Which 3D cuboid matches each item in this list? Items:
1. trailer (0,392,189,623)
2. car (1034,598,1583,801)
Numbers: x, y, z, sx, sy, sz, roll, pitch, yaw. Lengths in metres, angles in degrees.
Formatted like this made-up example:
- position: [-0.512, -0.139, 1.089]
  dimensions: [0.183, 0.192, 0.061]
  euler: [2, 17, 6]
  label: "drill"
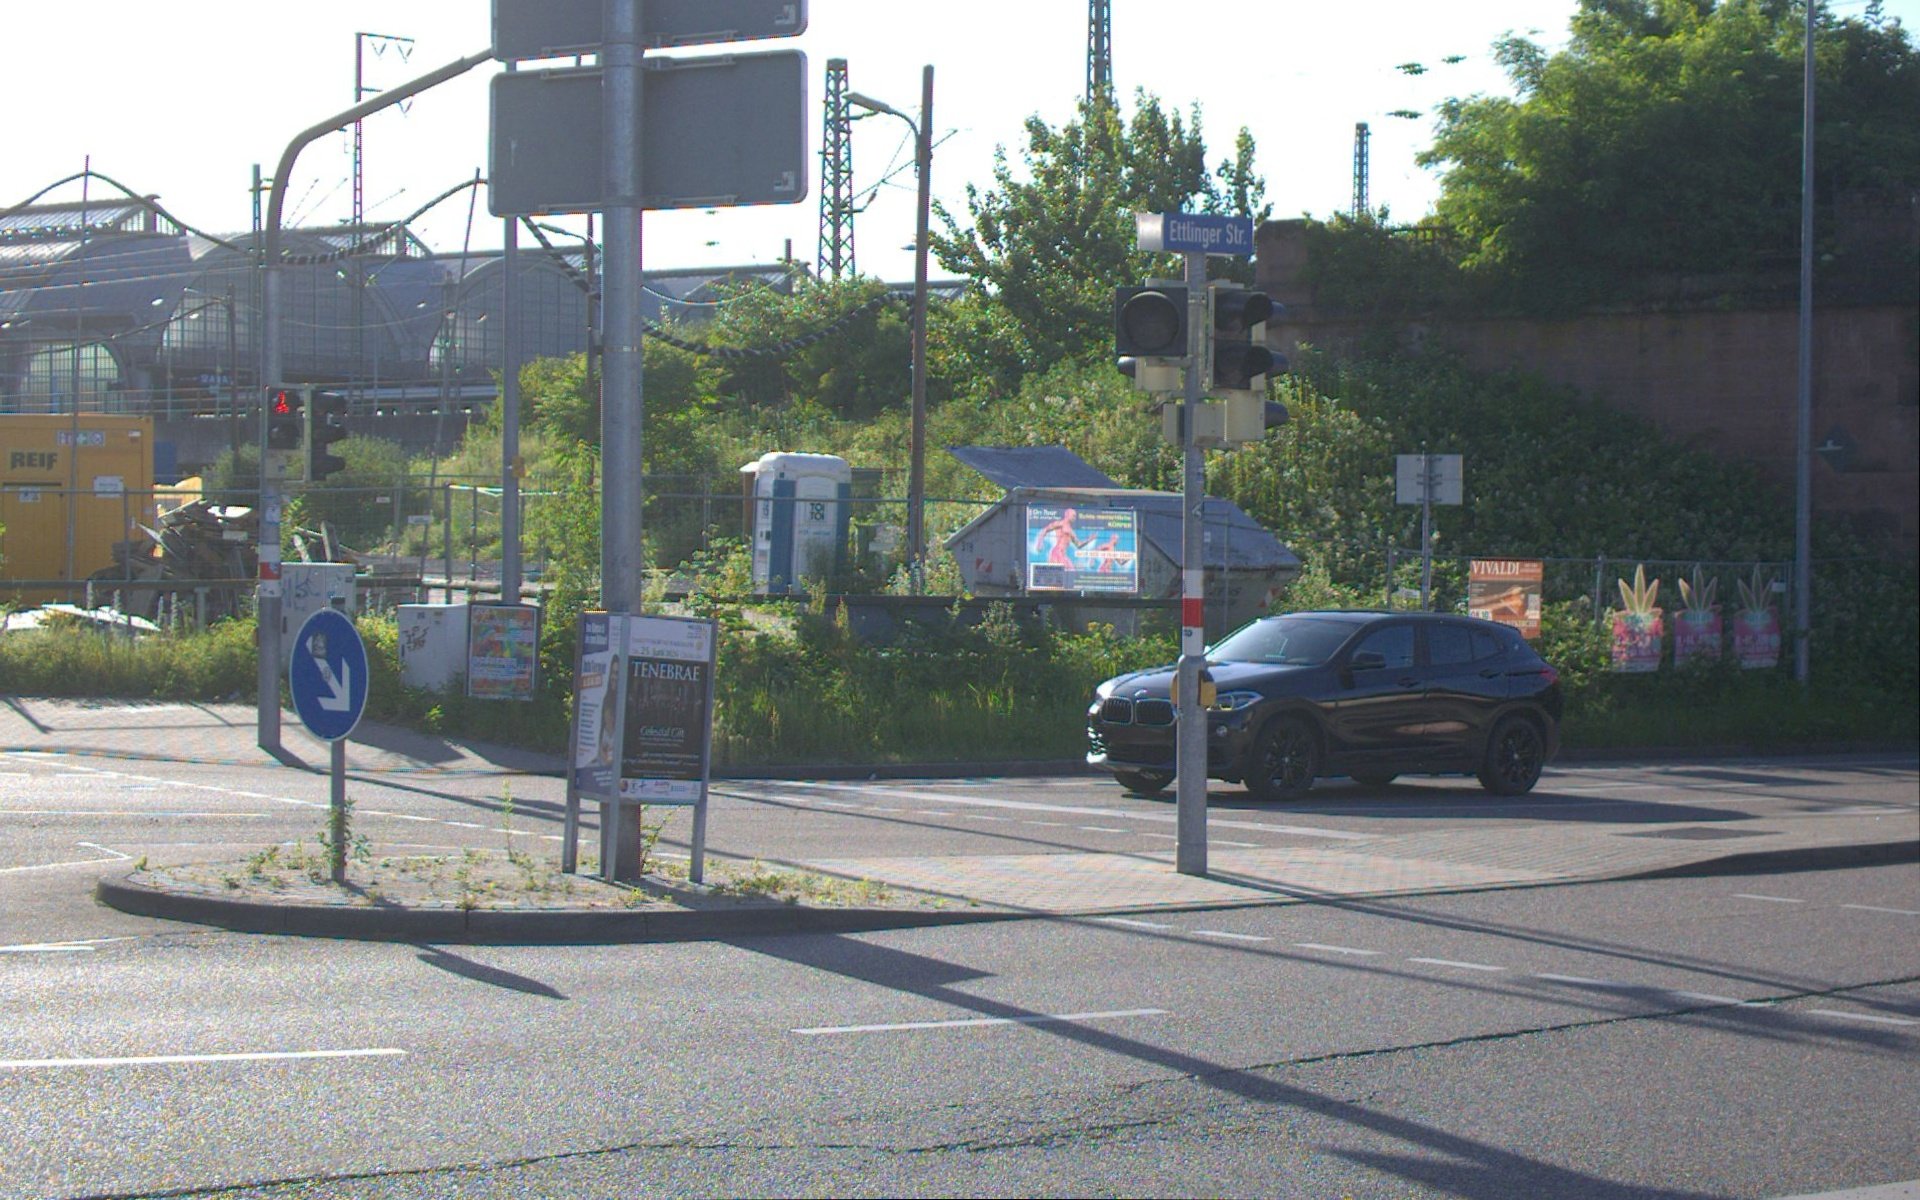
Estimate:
- position: [-14.138, -1.407, 53.303]
  dimensions: [2.995, 3.280, 6.670]
  euler: [2, 0, -23]
  label: "trailer"
- position: [2.910, 0.786, 28.216]
  dimensions: [4.374, 1.513, 1.956]
  euler: [1, 0, -40]
  label: "car"
